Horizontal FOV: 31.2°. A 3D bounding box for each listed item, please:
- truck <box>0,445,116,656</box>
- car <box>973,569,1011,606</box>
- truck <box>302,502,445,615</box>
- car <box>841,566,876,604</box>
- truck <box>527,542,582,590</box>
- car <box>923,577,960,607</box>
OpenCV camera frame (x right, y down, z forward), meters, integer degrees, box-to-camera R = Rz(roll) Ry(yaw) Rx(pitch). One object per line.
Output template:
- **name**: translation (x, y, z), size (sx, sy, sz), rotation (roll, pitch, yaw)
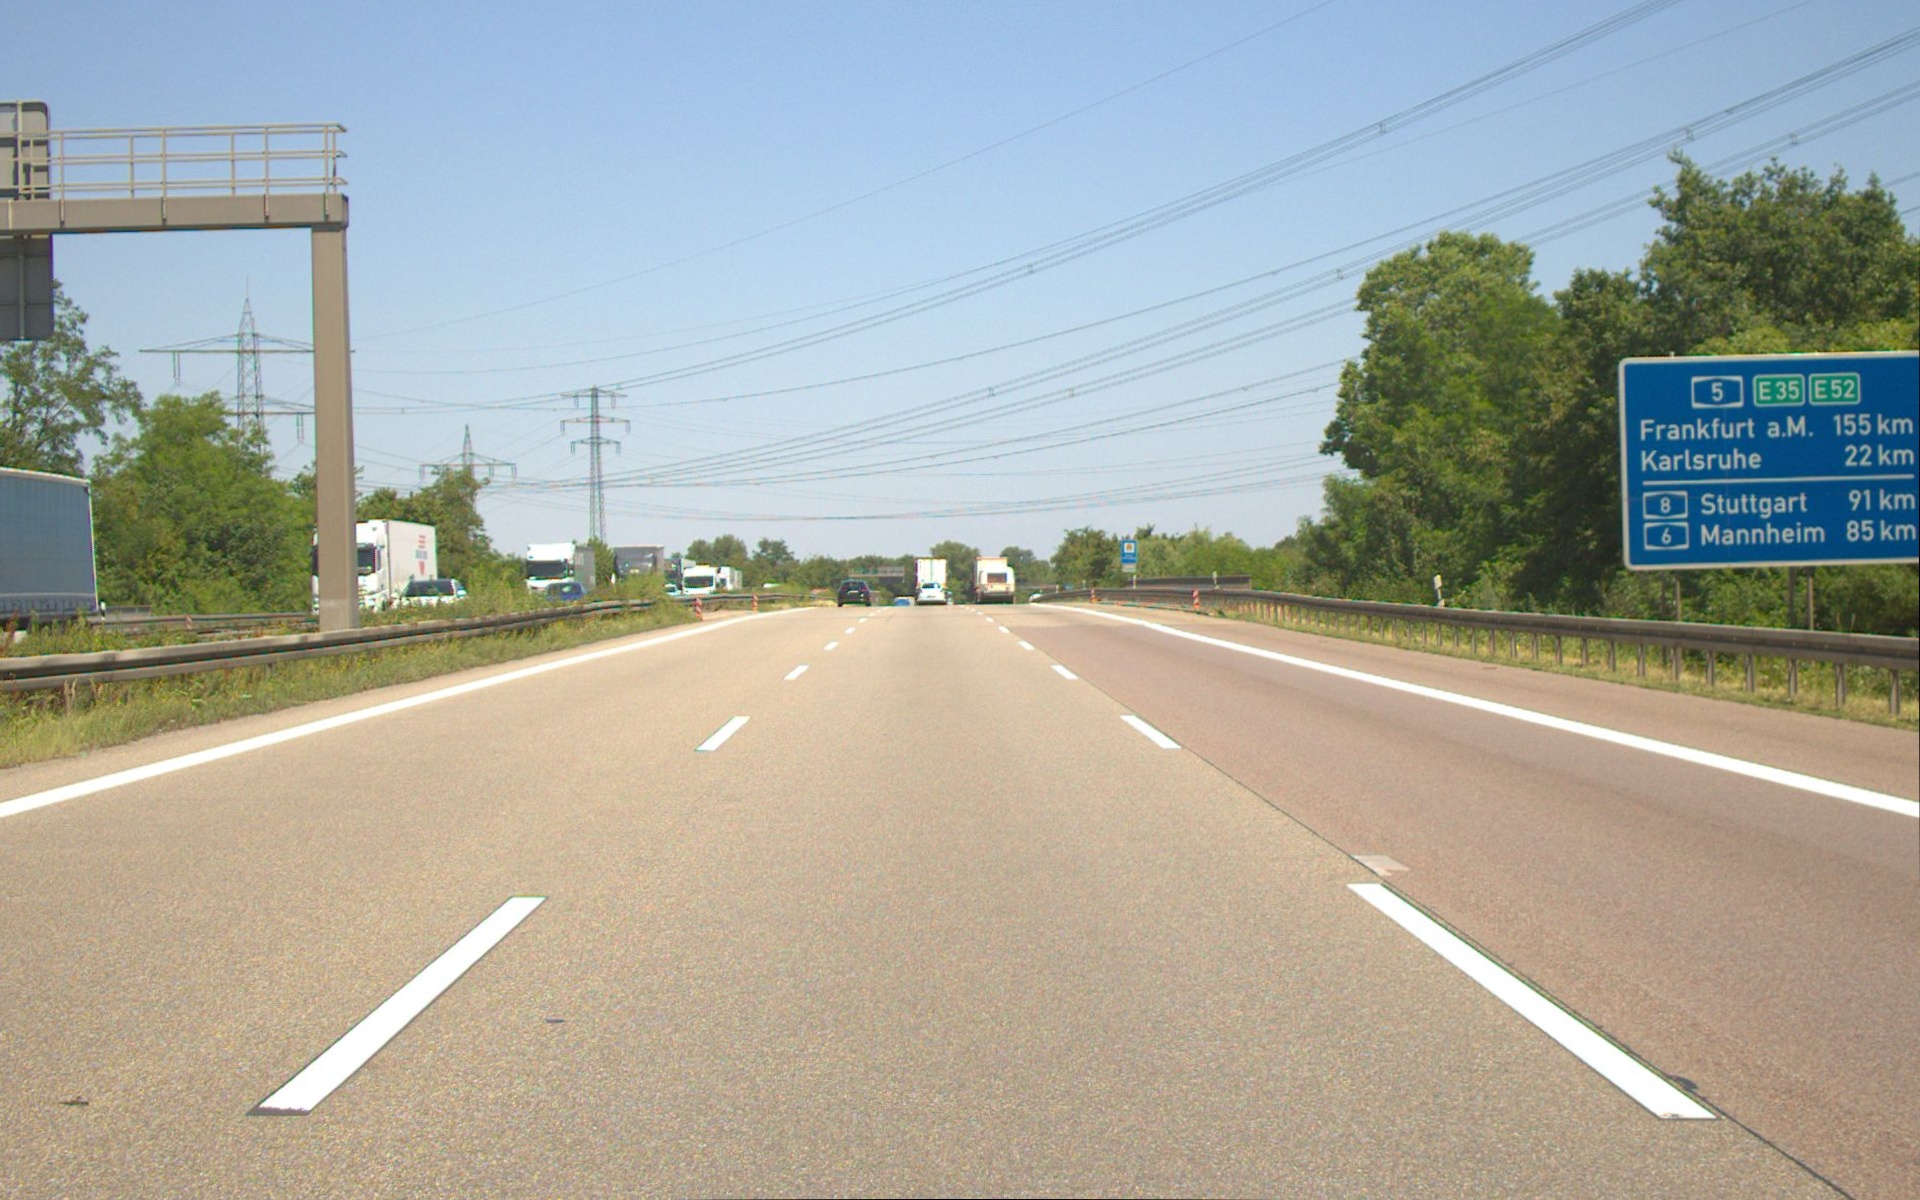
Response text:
- **truck**: translation (-21.250, -1.018, 72.574), size (2.712, 4.374, 17.327), rotation (-1, 1, -1)
- **car**: translation (1.793, -0.706, 194.031), size (1.993, 2.007, 4.000), rotation (-1, 1, -1)
- **truck**: translation (-22.622, -1.619, 133.655), size (2.961, 4.077, 17.030), rotation (-1, 1, -1)
- **car**: translation (-5.491, -0.835, 186.944), size (1.791, 2.007, 3.888), rotation (0, 1, 0)
- **truck**: translation (-22.111, -1.873, 188.055), size (2.499, 2.456, 12.295), rotation (-1, 1, -5)
- **car**: translation (-1.210, -0.558, 230.383), size (2.177, 1.923, 4.611), rotation (-1, 1, 3)
